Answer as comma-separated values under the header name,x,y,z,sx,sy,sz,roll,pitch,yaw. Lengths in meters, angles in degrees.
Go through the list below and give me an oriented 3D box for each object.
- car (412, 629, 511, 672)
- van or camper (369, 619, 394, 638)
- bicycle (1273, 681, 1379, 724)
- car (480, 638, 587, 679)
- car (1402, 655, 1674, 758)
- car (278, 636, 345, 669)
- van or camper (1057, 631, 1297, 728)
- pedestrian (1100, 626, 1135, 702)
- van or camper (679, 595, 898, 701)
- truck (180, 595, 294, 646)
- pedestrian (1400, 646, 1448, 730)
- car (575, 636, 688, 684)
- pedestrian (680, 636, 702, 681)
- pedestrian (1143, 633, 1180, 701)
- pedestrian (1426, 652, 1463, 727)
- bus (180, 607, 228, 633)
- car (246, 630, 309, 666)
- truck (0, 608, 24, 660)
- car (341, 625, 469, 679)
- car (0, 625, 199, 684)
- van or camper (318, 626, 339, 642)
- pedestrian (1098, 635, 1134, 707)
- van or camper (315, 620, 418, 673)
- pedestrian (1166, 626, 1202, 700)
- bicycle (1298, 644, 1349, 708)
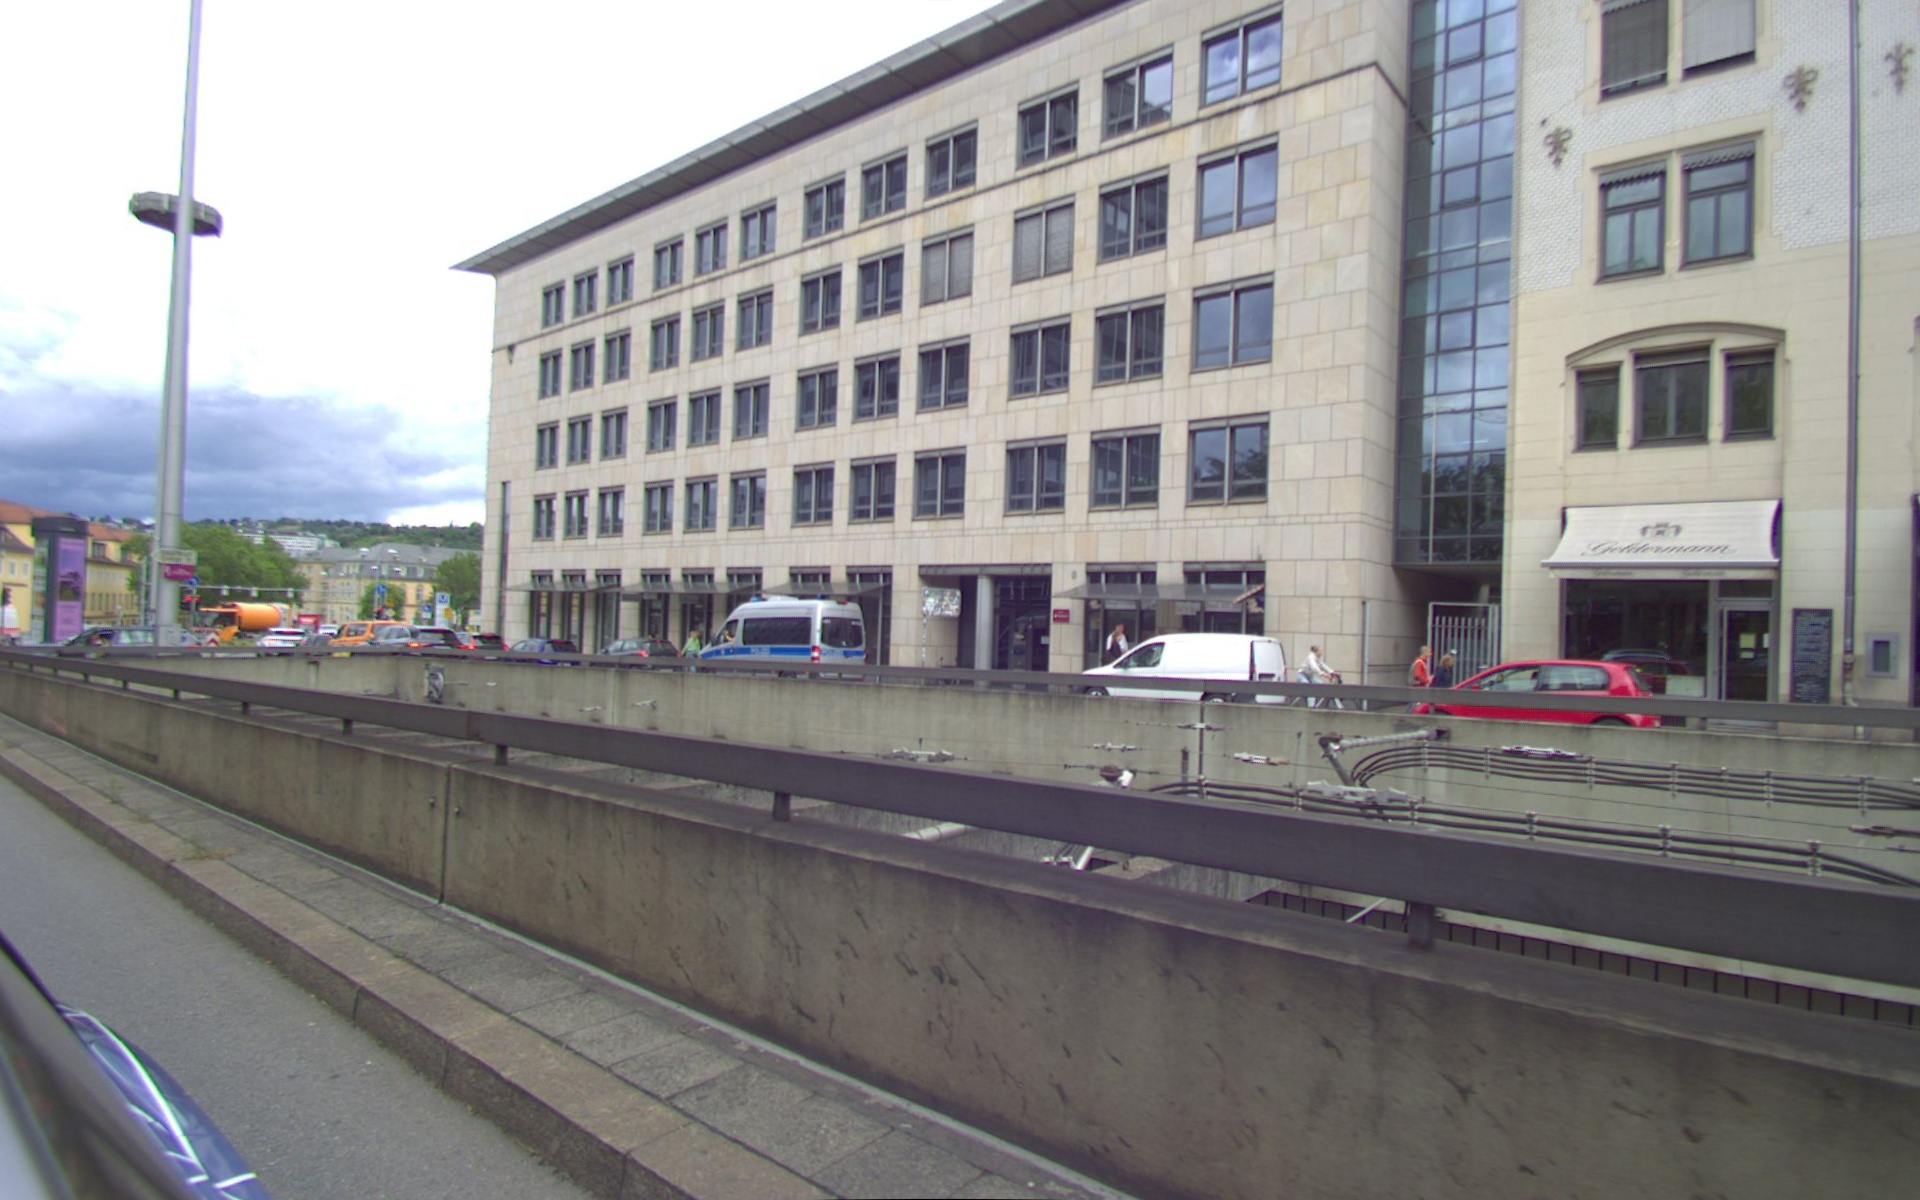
name,x,y,z,sx,sy,sz,roll,pitch,yaw
car,-20.945,2.107,42.411,4.680,1.658,1.973,-1,-4,41
van or camper,-86.647,4.281,151.506,2.113,2.495,6.173,9,-7,-38
bicycle,7.531,2.098,20.862,1.955,0.768,0.626,-1,-3,37
car,-16.241,2.198,38.446,4.571,1.406,1.972,-1,-3,42
car,9.274,1.625,16.354,3.579,1.416,1.769,-1,-3,39
car,-28.791,2.318,44.893,3.632,1.390,1.540,-1,-5,42
van or camper,4.376,1.544,20.773,4.482,1.765,1.849,-1,-3,40
pedestrian,4.030,1.628,25.960,0.679,1.889,0.610,-1,-3,39
van or camper,-5.068,1.342,29.428,6.242,2.747,2.971,-1,-3,41
truck,-58.224,1.770,81.832,2.689,3.643,9.184,6,-3,-3
pedestrian,9.076,1.700,19.781,0.712,1.593,0.576,-1,-3,41
car,-11.171,2.029,34.339,4.028,1.460,1.750,-1,-5,41
pedestrian,-9.888,2.150,37.229,0.627,1.636,0.494,-1,-3,40
pedestrian,4.783,1.573,23.993,0.679,1.589,0.546,-1,-3,39
pedestrian,9.788,1.791,20.429,0.541,1.486,0.543,-1,-3,41
bus,-97.755,2.625,131.087,3.376,3.228,13.102,1,-2,-30
car,-33.294,2.318,49.339,1.714,1.611,4.321,4,-4,-45
truck,-52.333,1.762,53.613,1.923,2.805,5.807,3,-3,-22
car,-17.148,1.555,31.180,4.537,1.538,1.899,-1,-3,40
car,-23.619,1.465,27.530,4.494,1.469,1.884,3,-3,-41
van or camper,-80.151,4.283,128.462,1.834,1.931,4.728,1,-2,-28
pedestrian,3.860,1.747,25.055,0.680,1.731,0.549,-1,-2,41
van or camper,-23.696,1.824,40.315,5.080,1.936,1.893,-1,-4,41
pedestrian,5.454,1.511,24.621,0.679,1.767,0.546,-1,-3,39
bicycle,7.506,1.551,20.910,0.843,1.270,0.626,-1,-3,37
